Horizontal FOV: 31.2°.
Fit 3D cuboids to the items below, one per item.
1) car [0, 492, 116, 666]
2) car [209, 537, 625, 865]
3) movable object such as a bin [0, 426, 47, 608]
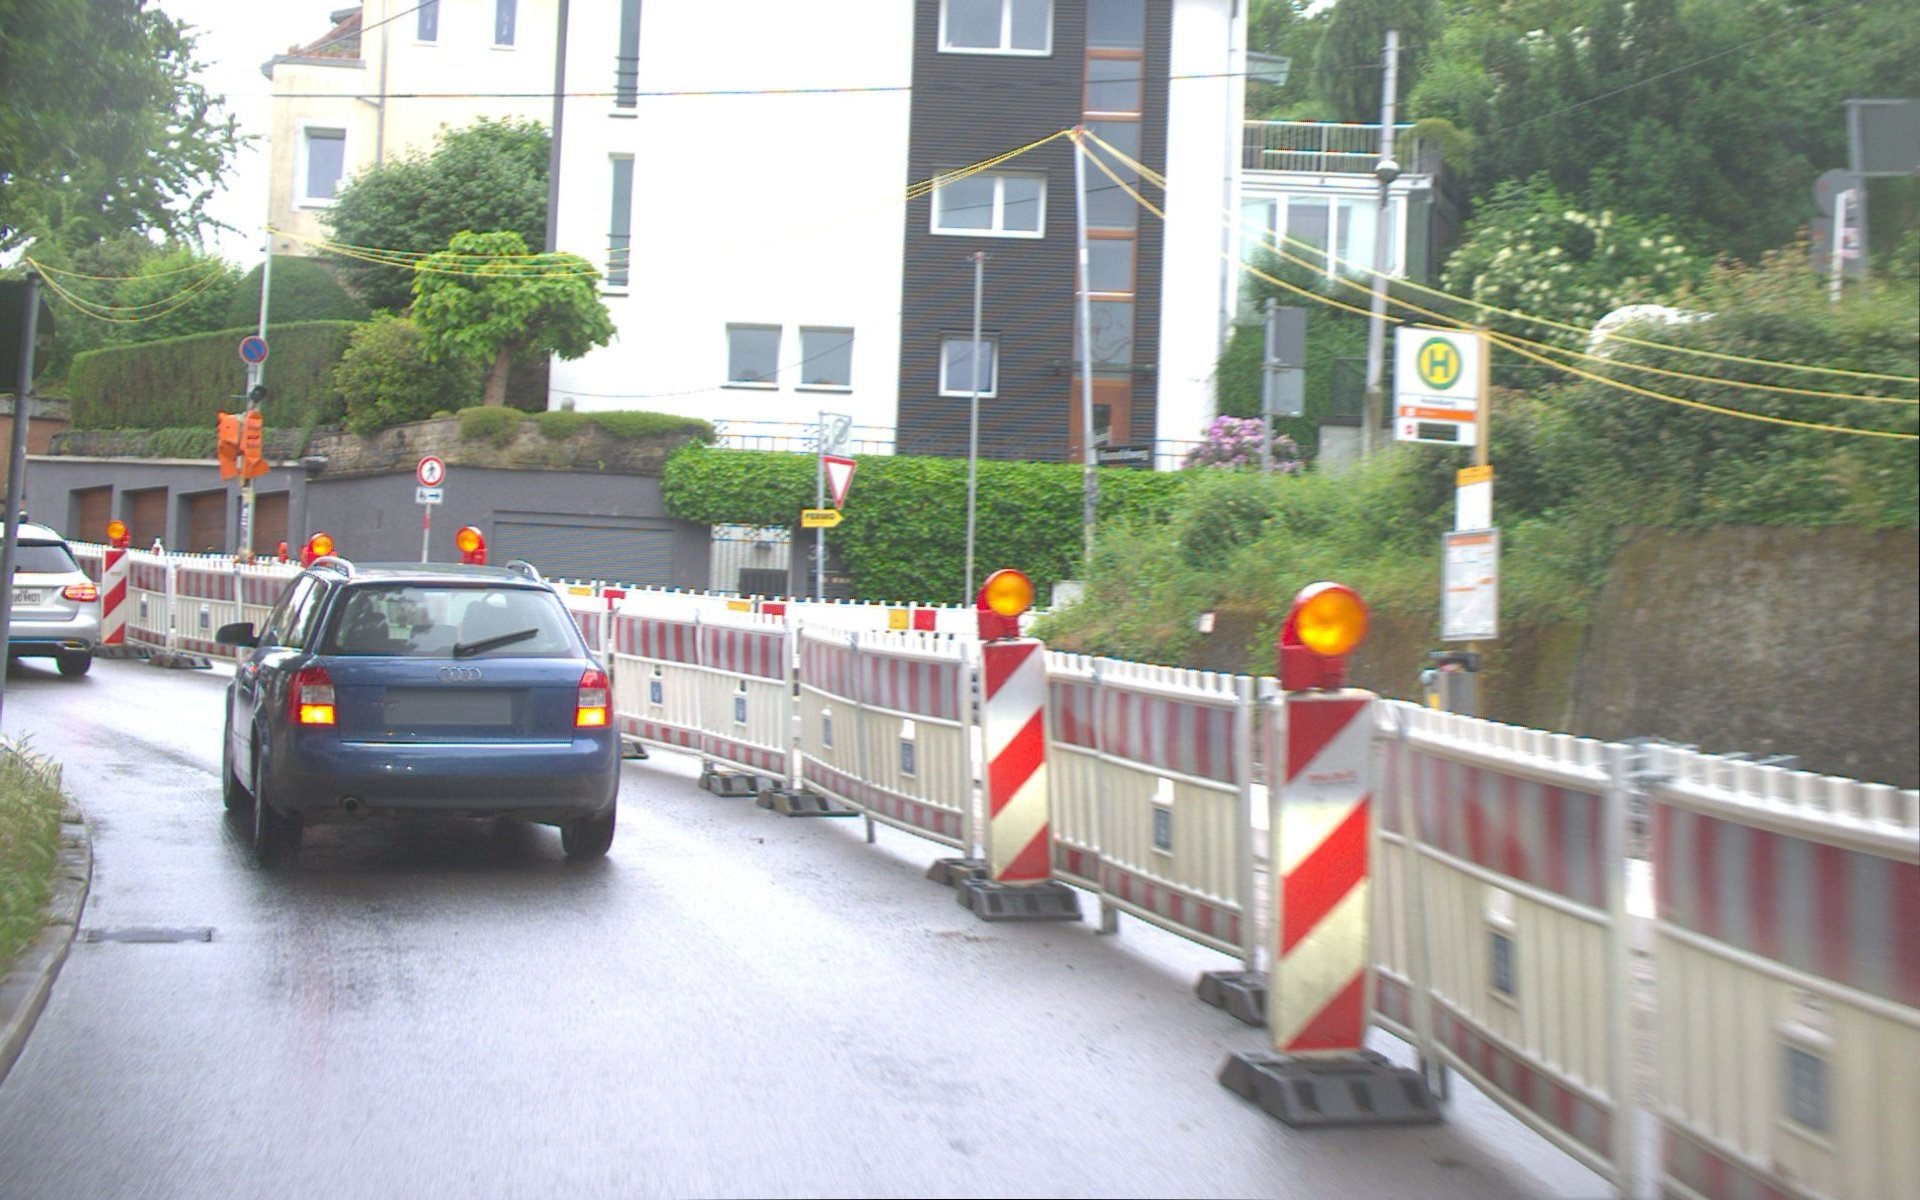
[{"bbox_3d":[-9.862,-0.217,33.945,1.926,1.612,4.321,1,0,-28],"label":"car"},{"bbox_3d":[-2.905,0.440,17.722,1.785,1.437,3.965,2,1,-13],"label":"car"},{"bbox_3d":[-15.215,-1.318,51.243,1.993,2.604,4.001,1,3,-31],"label":"movable object such as a bin"}]
